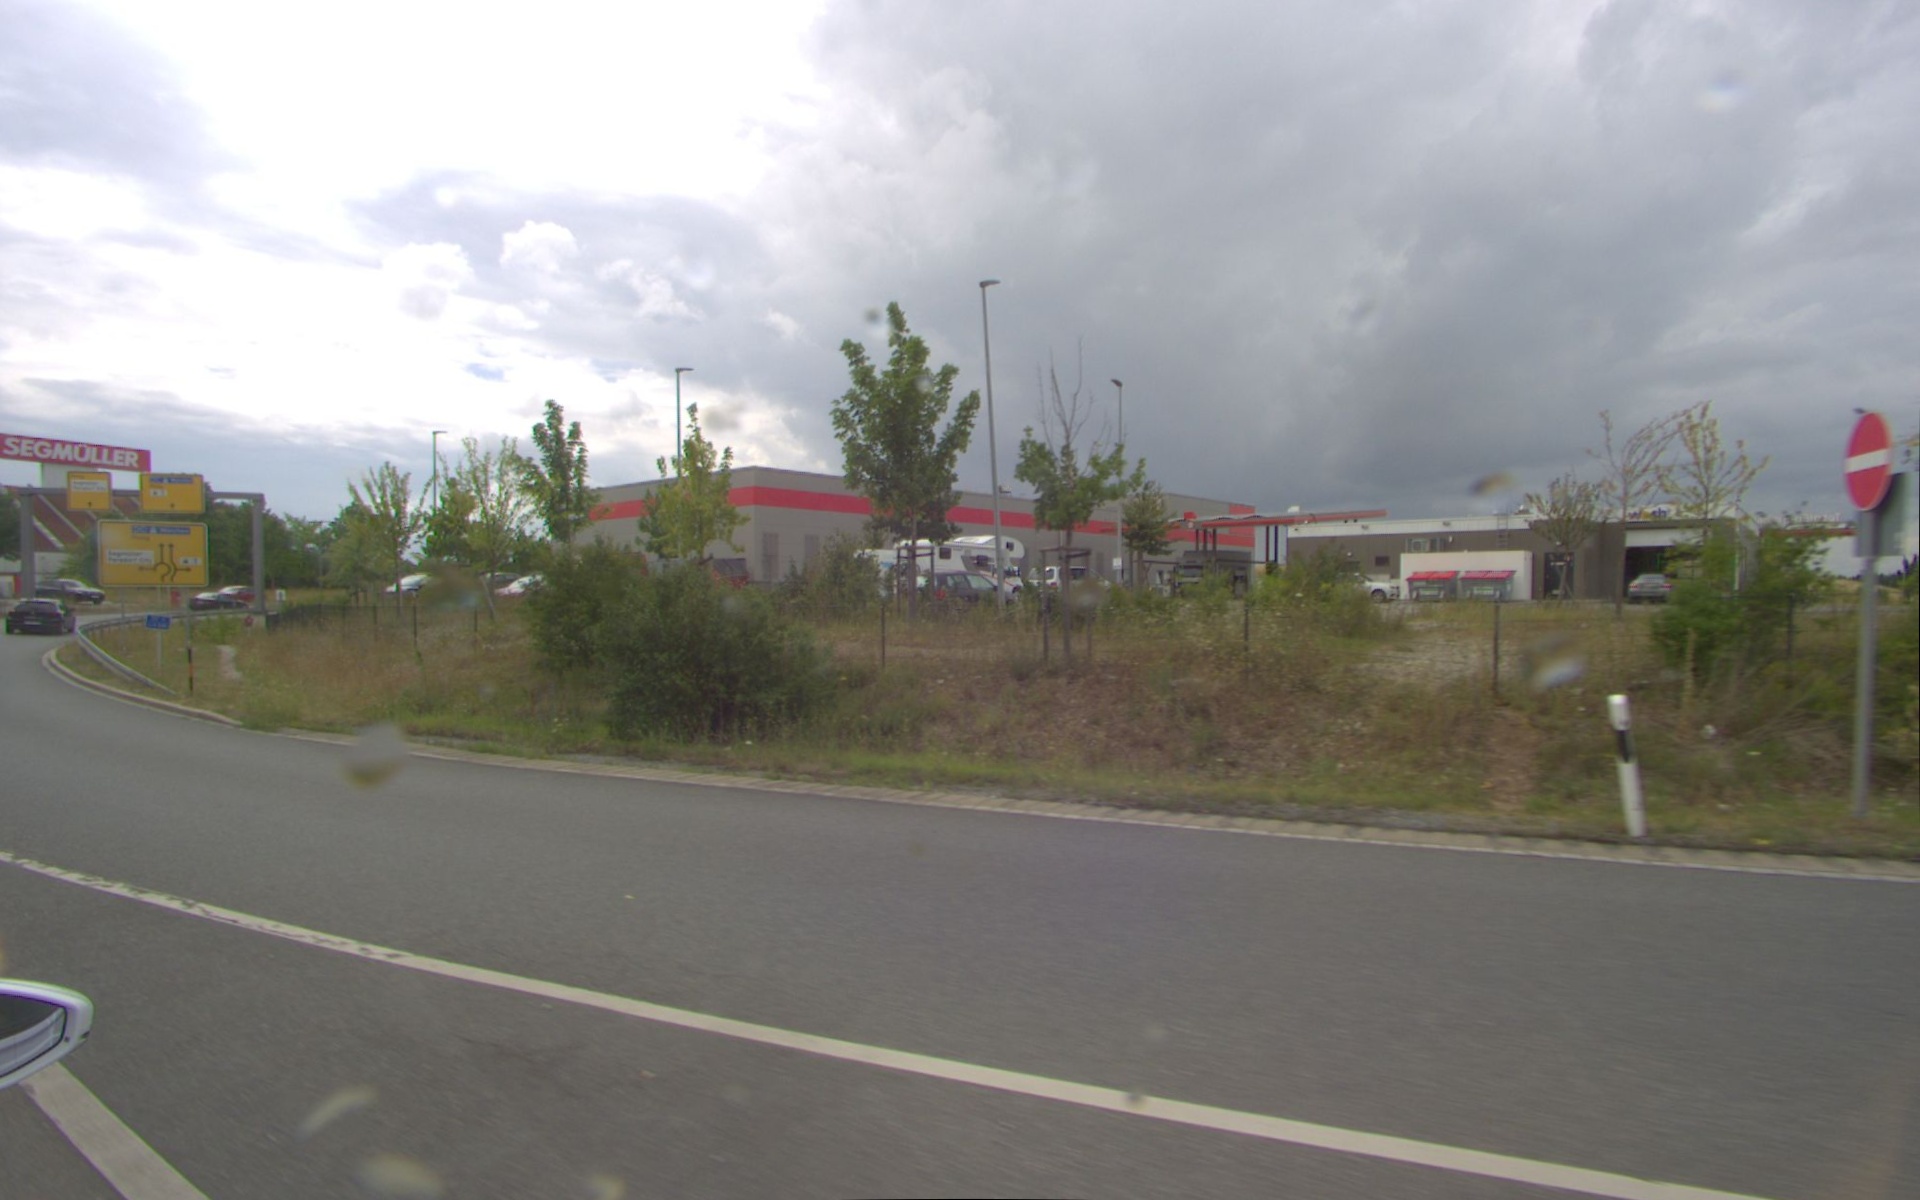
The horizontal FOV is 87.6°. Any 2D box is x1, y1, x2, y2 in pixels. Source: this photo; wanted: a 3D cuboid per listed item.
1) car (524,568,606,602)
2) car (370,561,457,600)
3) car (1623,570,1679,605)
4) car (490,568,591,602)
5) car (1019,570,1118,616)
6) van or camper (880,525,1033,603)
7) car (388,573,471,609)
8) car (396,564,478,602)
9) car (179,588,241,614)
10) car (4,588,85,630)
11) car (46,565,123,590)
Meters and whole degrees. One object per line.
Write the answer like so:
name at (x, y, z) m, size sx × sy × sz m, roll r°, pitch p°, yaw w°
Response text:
car at (-16.797, -0.610, 42.718) m, size 1.474 × 1.400 × 3.301 m, roll 0°, pitch 0°, yaw 19°
car at (-29.533, -1.035, 54.252) m, size 1.770 × 1.805 × 4.168 m, roll 3°, pitch -1°, yaw 12°
car at (30.381, -0.522, 43.997) m, size 1.650 × 1.450 × 3.969 m, roll 0°, pitch 0°, yaw 40°
car at (-18.790, -0.626, 45.056) m, size 1.673 × 1.418 × 4.582 m, roll 0°, pitch 0°, yaw 17°
car at (4.386, -0.286, 40.037) m, size 4.021 × 1.744 × 1.762 m, roll -1°, pitch 1°, yaw -44°
van or camper at (0.007, -1.551, 45.193) m, size 2.463 × 3.222 × 7.674 m, roll 2°, pitch 2°, yaw 41°
car at (-27.870, -0.437, 52.711) m, size 1.700 × 1.674 × 3.857 m, roll 3°, pitch -1°, yaw 12°
car at (-26.362, -0.836, 50.591) m, size 1.490 × 1.674 × 3.731 m, roll 3°, pitch -1°, yaw 15°
car at (-48.780, 0.085, 65.238) m, size 1.878 × 1.639 × 3.994 m, roll 0°, pitch 0°, yaw -15°
car at (-37.863, 0.377, 41.506) m, size 1.850 × 1.626 × 3.711 m, roll 0°, pitch 0°, yaw -33°
car at (-61.848, -1.573, 70.774) m, size 4.174 × 1.570 × 1.873 m, roll 2°, pitch 1°, yaw 10°
